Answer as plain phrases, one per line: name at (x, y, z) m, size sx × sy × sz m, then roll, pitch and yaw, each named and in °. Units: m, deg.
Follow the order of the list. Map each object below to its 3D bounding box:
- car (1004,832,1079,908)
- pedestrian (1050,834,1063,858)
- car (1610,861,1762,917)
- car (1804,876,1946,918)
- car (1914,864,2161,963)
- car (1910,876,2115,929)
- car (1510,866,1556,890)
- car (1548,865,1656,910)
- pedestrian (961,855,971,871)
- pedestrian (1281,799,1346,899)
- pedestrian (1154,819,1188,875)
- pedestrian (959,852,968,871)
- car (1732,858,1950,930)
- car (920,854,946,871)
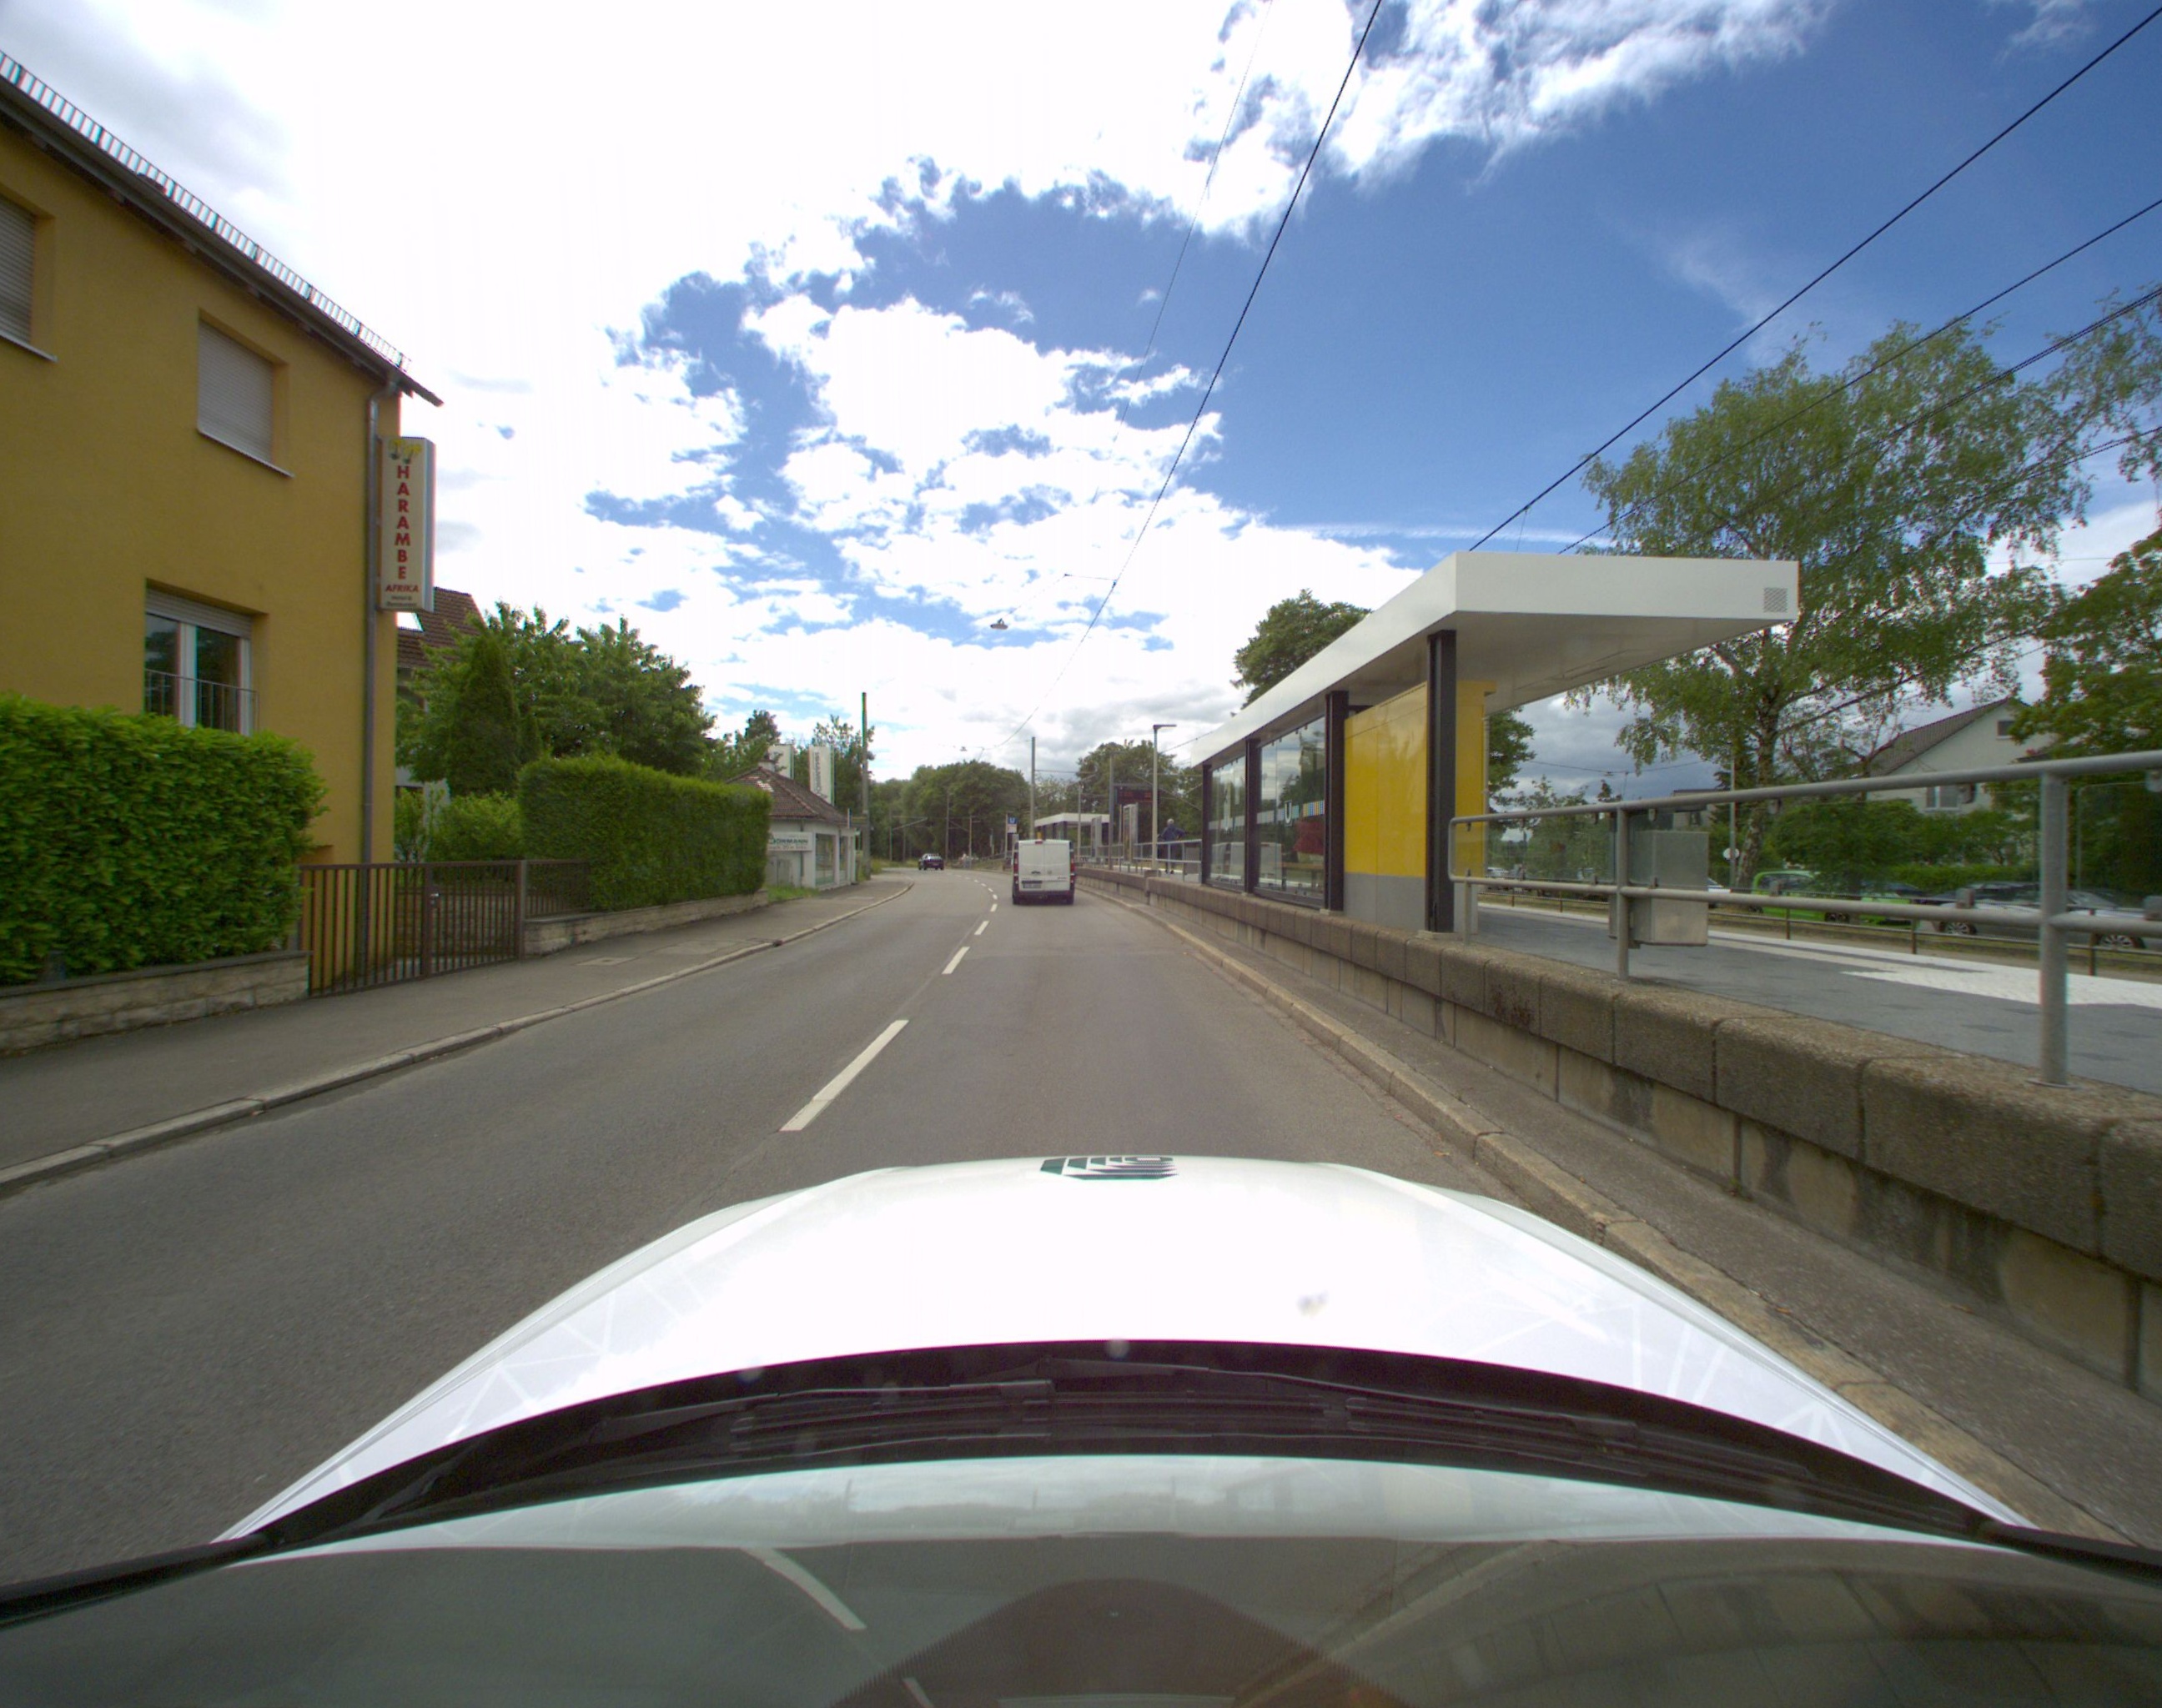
car at (-1.372, 0.470, 26.223) m, size 2.113 × 2.134 × 5.430 m, roll 2°, pitch 0°, yaw -5°
pedestrian at (-1.423, -0.484, 47.471) m, size 0.639 × 1.404 × 0.761 m, roll 0°, pitch 1°, yaw -12°
car at (18.675, 1.015, 25.397) m, size 1.751 × 1.574 × 4.099 m, roll 1°, pitch 0°, yaw 0°
car at (30.791, 1.626, 31.810) m, size 1.744 × 1.488 × 4.713 m, roll 0°, pitch -1°, yaw 13°
car at (18.614, 1.001, 15.078) m, size 2.056 × 1.574 × 4.260 m, roll 1°, pitch 0°, yaw 0°
car at (29.489, 1.479, 26.069) m, size 1.744 × 1.488 × 4.946 m, roll 0°, pitch -1°, yaw 13°
car at (31.588, 1.637, 57.051) m, size 2.047 × 1.574 × 4.280 m, roll 1°, pitch 0°, yaw 18°
car at (19.075, 1.172, 30.070) m, size 1.829 × 1.488 × 4.515 m, roll 1°, pitch 0°, yaw 11°
pedestrian at (-11.165, 0.866, 78.782) m, size 0.764 × 1.492 × 0.624 m, roll 1°, pitch -1°, yaw -38°
pedestrian at (3.113, -0.061, 10.934) m, size 0.619 × 1.299 × 0.718 m, roll 1°, pitch -1°, yaw -5°
pedestrian at (2.747, -0.194, 24.875) m, size 0.884 × 1.671 × 0.908 m, roll 1°, pitch 0°, yaw -4°
pedestrian at (-11.586, 0.725, 80.308) m, size 0.764 × 1.795 × 0.624 m, roll 1°, pitch -1°, yaw -38°
car at (18.668, 0.905, 20.279) m, size 1.724 × 1.574 × 4.000 m, roll 1°, pitch 0°, yaw 0°
car at (-14.542, 0.852, 79.801) m, size 2.357 × 1.564 × 4.355 m, roll 2°, pitch -1°, yaw -12°
